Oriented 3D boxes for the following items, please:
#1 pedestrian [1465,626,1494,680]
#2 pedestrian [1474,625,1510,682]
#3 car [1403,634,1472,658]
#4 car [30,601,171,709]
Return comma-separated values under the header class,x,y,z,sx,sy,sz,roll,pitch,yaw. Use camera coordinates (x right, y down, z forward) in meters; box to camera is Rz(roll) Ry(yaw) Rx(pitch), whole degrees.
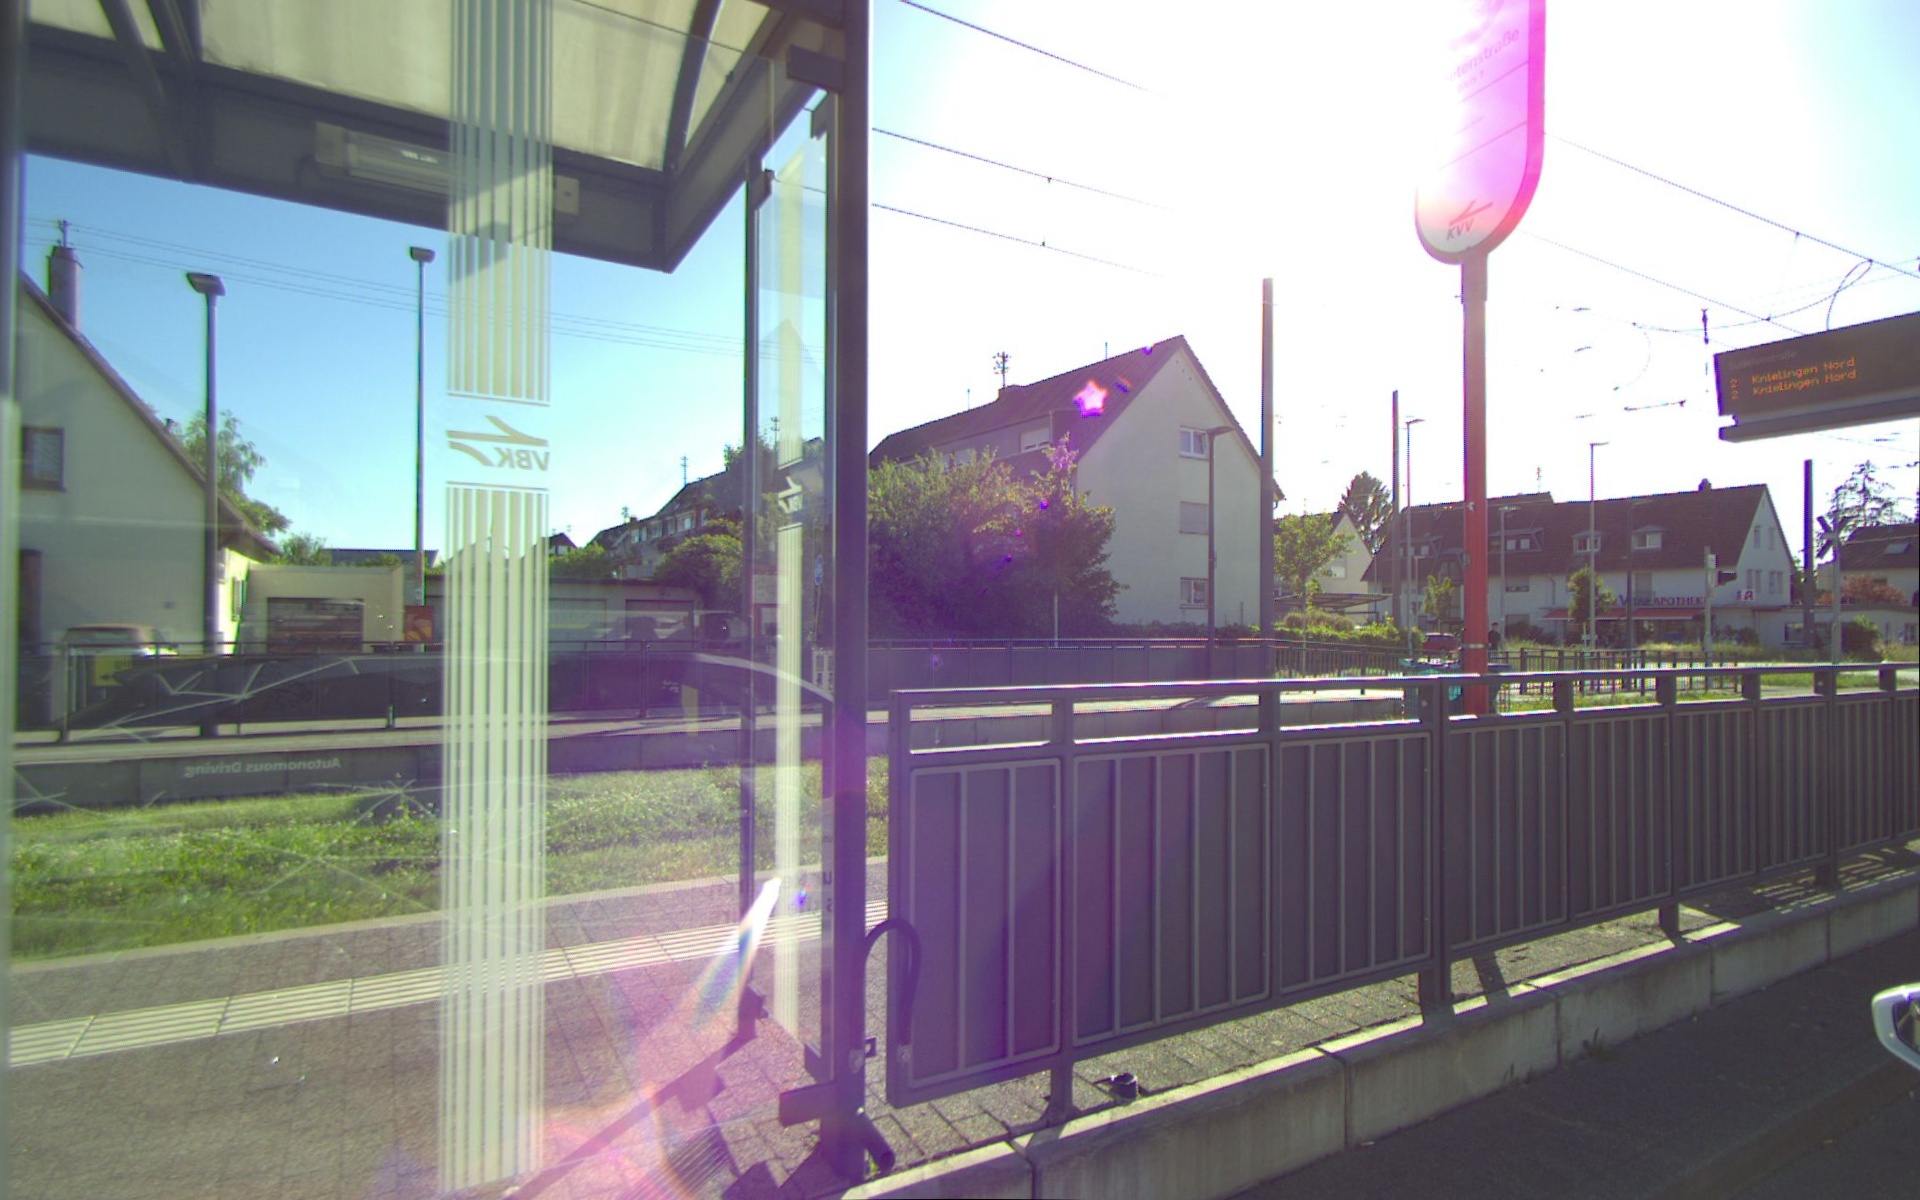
class,x,y,z,sx,sy,sz,roll,pitch,yaw
pedestrian,17.221,1.741,33.320,0.682,1.756,0.590,1,0,-32
pedestrian,16.950,1.682,32.001,0.763,1.785,0.725,1,-2,-32
car,30.194,2.877,63.579,1.805,1.492,3.482,1,-2,-38
car,-16.479,0.981,19.429,1.783,1.830,3.816,2,-1,-37
